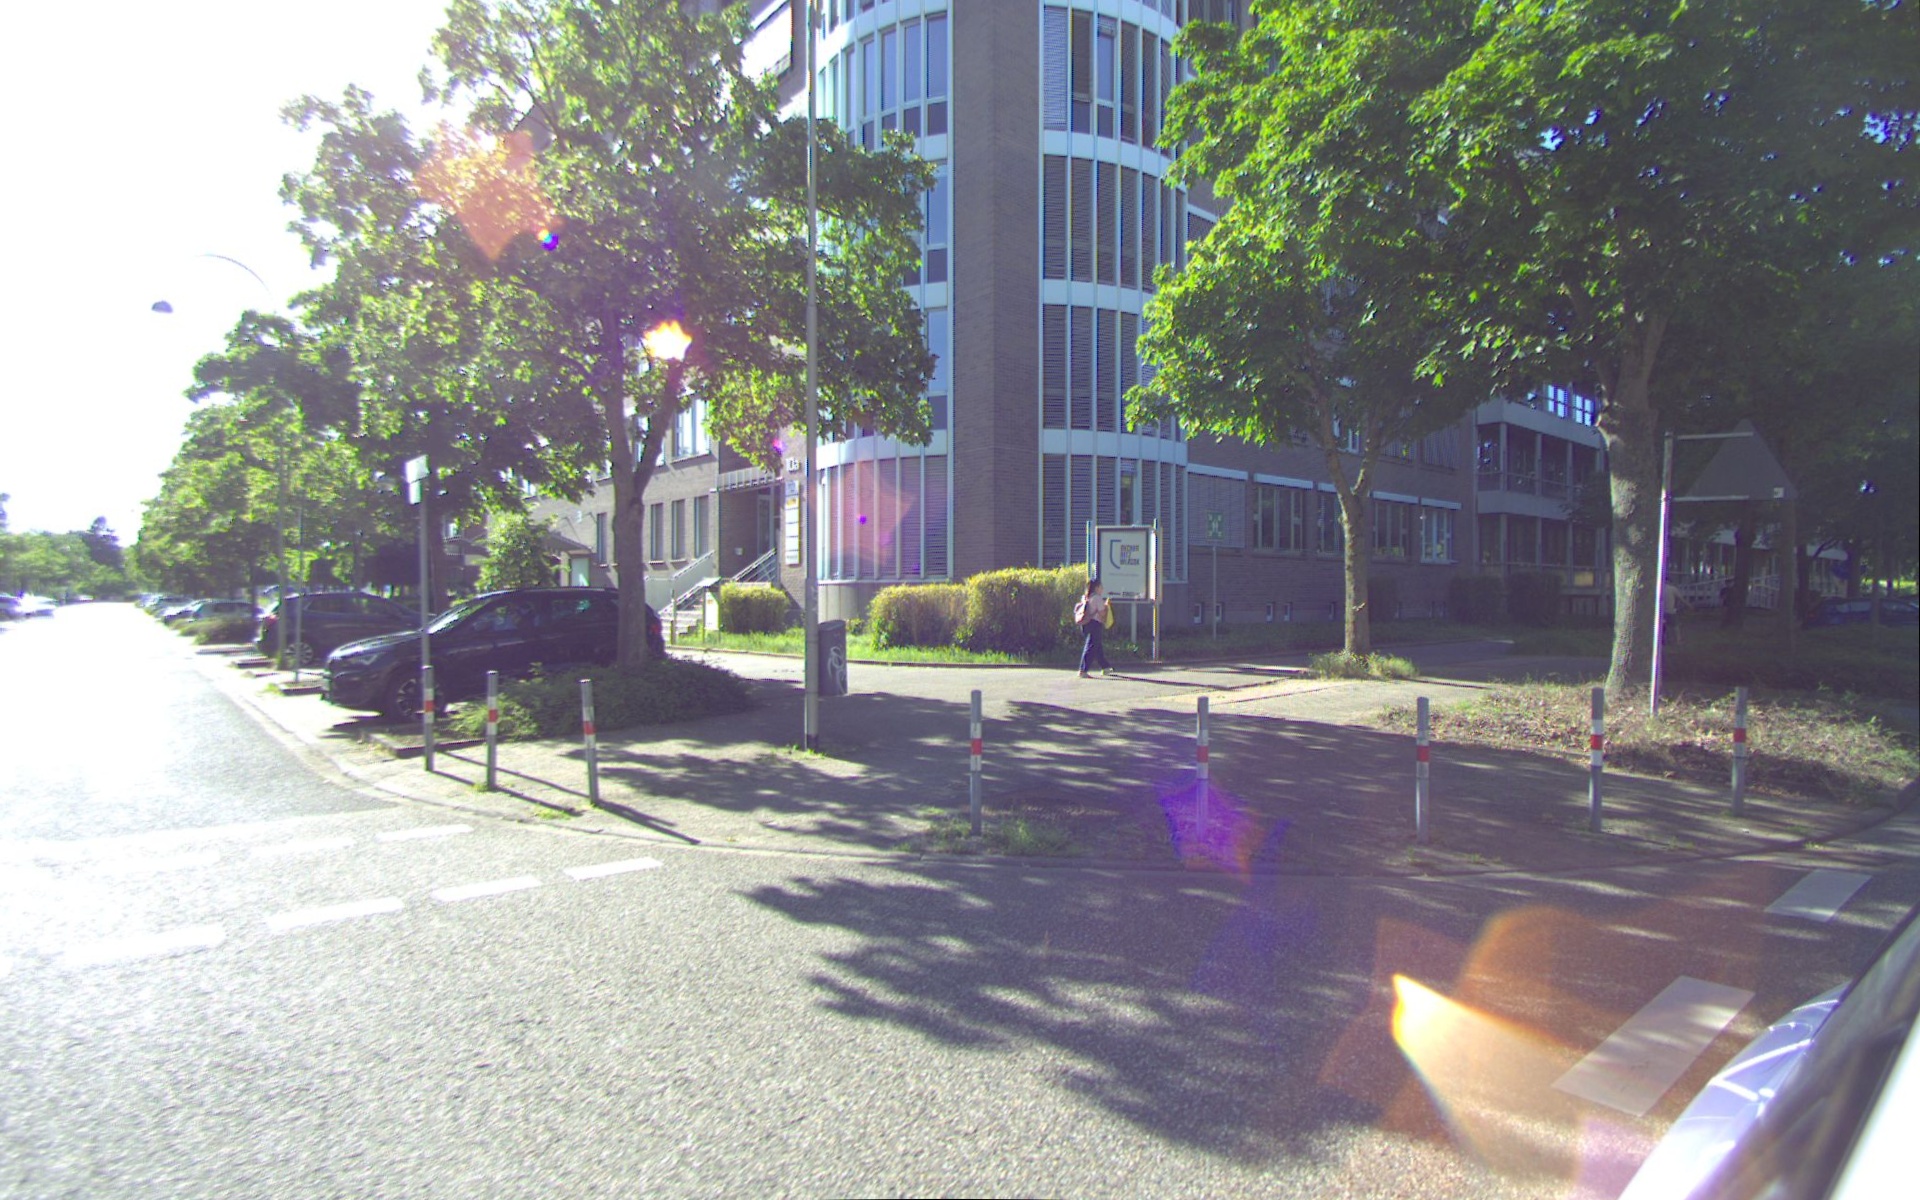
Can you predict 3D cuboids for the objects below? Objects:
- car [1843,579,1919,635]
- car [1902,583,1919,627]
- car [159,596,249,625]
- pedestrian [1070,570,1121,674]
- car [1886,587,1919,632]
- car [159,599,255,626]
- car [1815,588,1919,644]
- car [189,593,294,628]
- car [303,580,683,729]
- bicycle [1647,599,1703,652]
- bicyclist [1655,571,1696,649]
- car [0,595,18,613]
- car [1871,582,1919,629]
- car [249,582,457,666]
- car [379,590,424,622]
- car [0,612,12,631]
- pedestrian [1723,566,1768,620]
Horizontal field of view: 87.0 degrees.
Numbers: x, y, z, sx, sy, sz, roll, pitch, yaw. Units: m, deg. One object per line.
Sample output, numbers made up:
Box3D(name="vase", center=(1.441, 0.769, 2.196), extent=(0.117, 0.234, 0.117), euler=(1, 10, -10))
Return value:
Box3D(name="car", center=(29.056, 0.234, 30.055), extent=(1.633, 1.609, 4.129), euler=(-1, 3, -44))
Box3D(name="car", center=(37.032, 0.214, 36.718), extent=(1.683, 1.604, 3.997), euler=(0, 1, -38))
Box3D(name="car", center=(-42.142, 0.552, 56.470), extent=(3.845, 1.462, 1.532), euler=(-2, 1, -44))
Box3D(name="pedestrian", center=(2.140, 0.334, 16.006), extent=(0.537, 1.602, 0.639), euler=(0, 0, 40))
Box3D(name="car", center=(34.422, 0.369, 34.491), extent=(1.806, 1.536, 4.129), euler=(0, 1, -44))
Box3D(name="car", center=(-39.072, 0.644, 52.550), extent=(3.845, 1.332, 1.532), euler=(0, 0, -44))
Box3D(name="car", center=(25.673, 0.447, 27.052), extent=(1.627, 1.387, 4.120), euler=(0, 3, -43))
Box3D(name="car", center=(-33.356, 0.451, 47.043), extent=(3.843, 1.462, 1.533), euler=(-2, 1, -42))
Box3D(name="car", center=(-6.132, 0.602, 13.619), extent=(4.294, 1.585, 1.739), euler=(-3, 1, -43))
Box3D(name="bicycle", center=(15.629, 0.537, 22.113), extent=(1.885, 1.092, 0.535), euler=(0, 0, -40))
Box3D(name="bicyclist", center=(15.624, 0.214, 22.106), extent=(0.808, 1.657, 0.538), euler=(0, 0, -39))
Box3D(name="car", center=(-69.048, 0.274, 71.305), extent=(3.842, 1.260, 1.533), euler=(-1, 1, -42))
Box3D(name="car", center=(32.607, 0.231, 33.029), extent=(1.633, 1.479, 4.129), euler=(0, 3, -44))
Box3D(name="car", center=(-13.905, 0.489, 23.283), extent=(3.925, 1.604, 1.704), euler=(-4, 2, -35))
Box3D(name="car", center=(-27.633, 0.278, 50.012), extent=(1.507, 1.462, 3.909), euler=(-1, 1, -35))
Box3D(name="car", center=(-64.850, 1.368, 66.349), extent=(3.840, 1.260, 1.534), euler=(3, -2, -41))
Box3D(name="pedestrian", center=(27.328, -0.230, 35.212), extent=(1.001, 1.821, 1.036), euler=(0, -1, -41))
